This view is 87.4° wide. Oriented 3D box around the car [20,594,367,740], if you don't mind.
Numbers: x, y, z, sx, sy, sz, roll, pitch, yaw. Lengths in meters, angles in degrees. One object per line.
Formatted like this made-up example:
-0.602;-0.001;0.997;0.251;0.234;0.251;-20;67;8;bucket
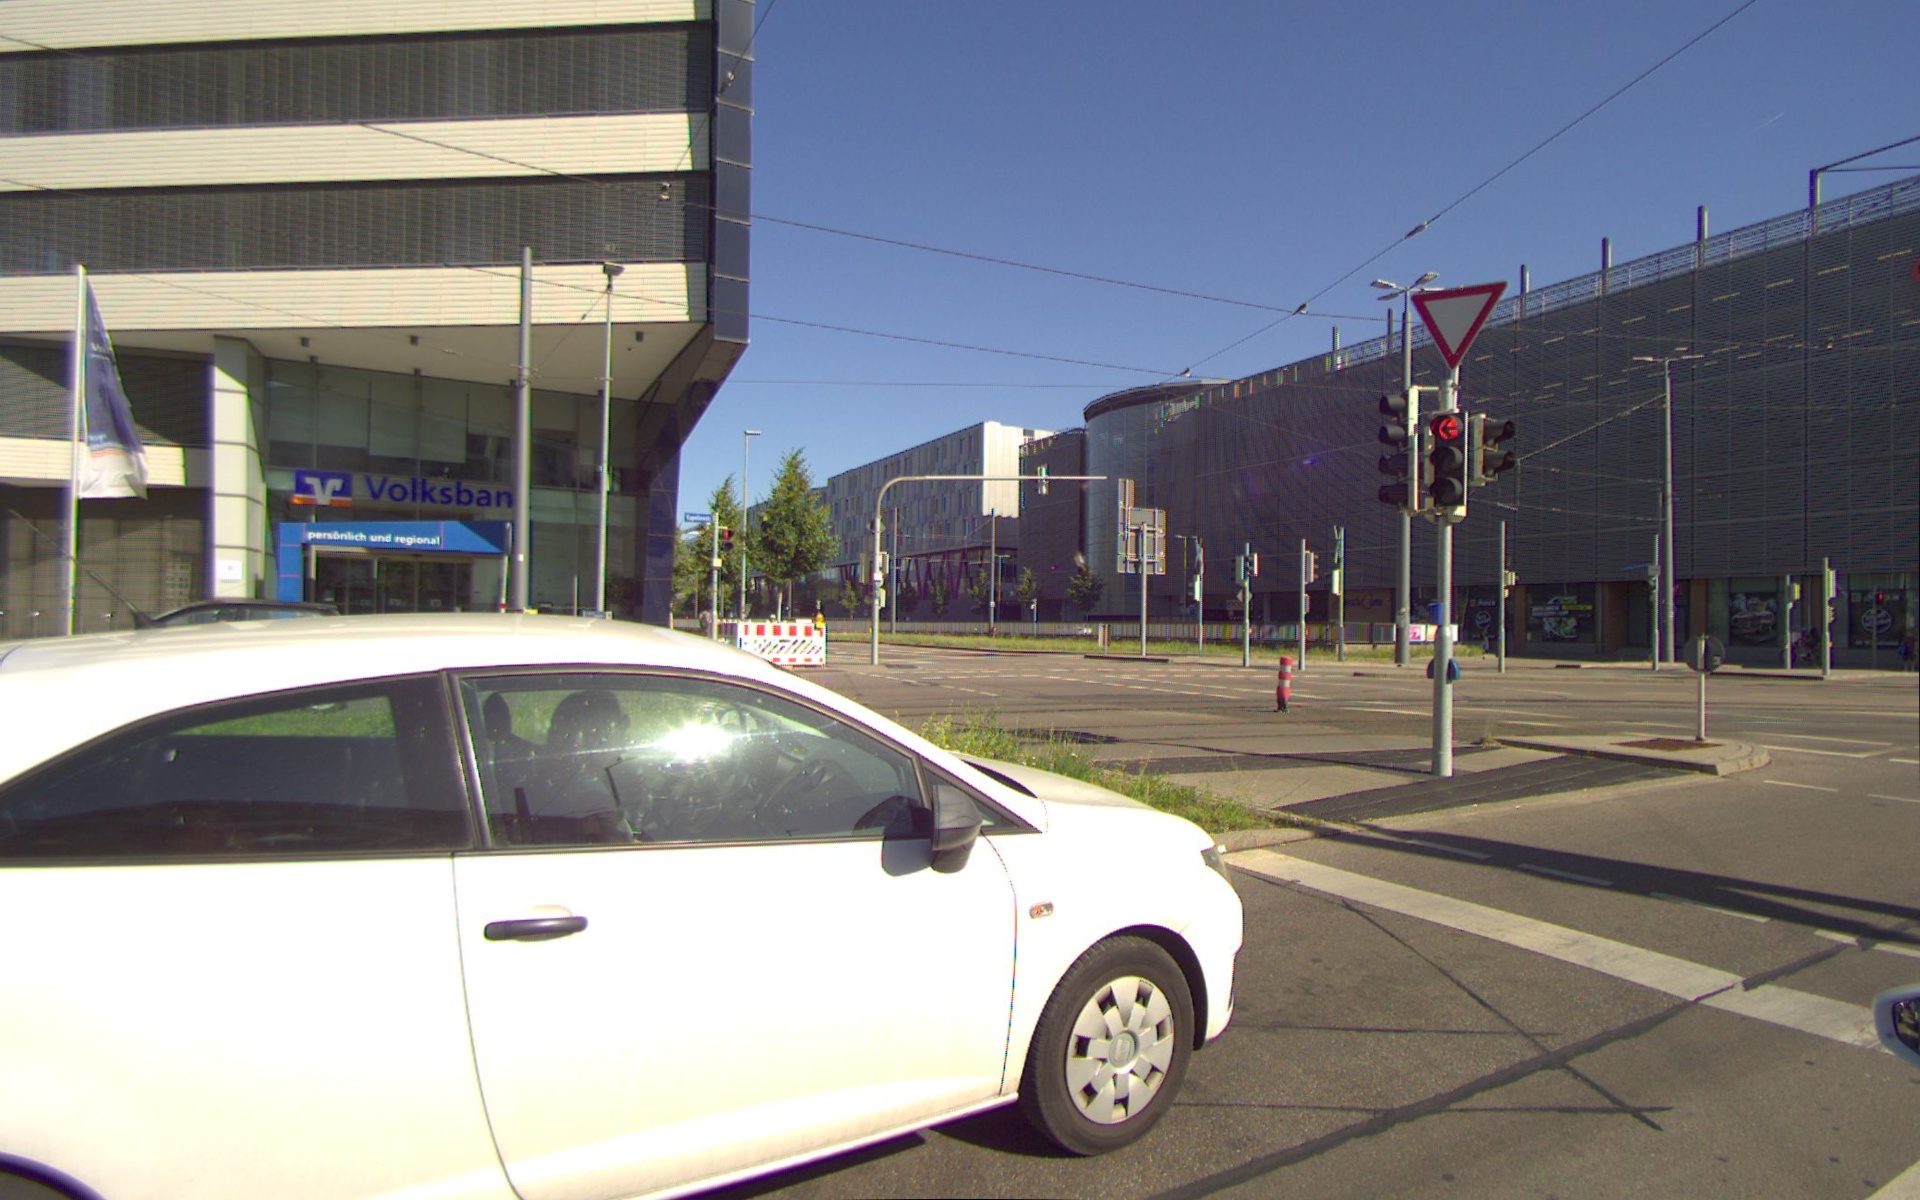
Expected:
-10.059;0.839;13.535;3.513;1.729;1.568;1;-1;-32;car

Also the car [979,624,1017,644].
3.738;3.336;99.513;1.819;1.605;4.268;2;2;-30;car

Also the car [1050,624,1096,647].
9.859;3.113;87.778;1.819;1.887;4.306;2;-1;-30;car

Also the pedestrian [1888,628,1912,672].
39.981;2.116;42.729;0.687;1.821;0.726;-2;-3;44;pedestrian

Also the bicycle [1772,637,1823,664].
40.852;2.448;49.014;0.562;1.233;1.849;-1;-1;-30;bicycle

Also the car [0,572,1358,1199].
-0.946;0.737;2.792;3.977;1.460;1.723;2;1;-31;car

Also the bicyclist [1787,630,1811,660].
40.881;2.184;48.939;0.559;1.405;0.750;-1;-1;-30;bicyclist
